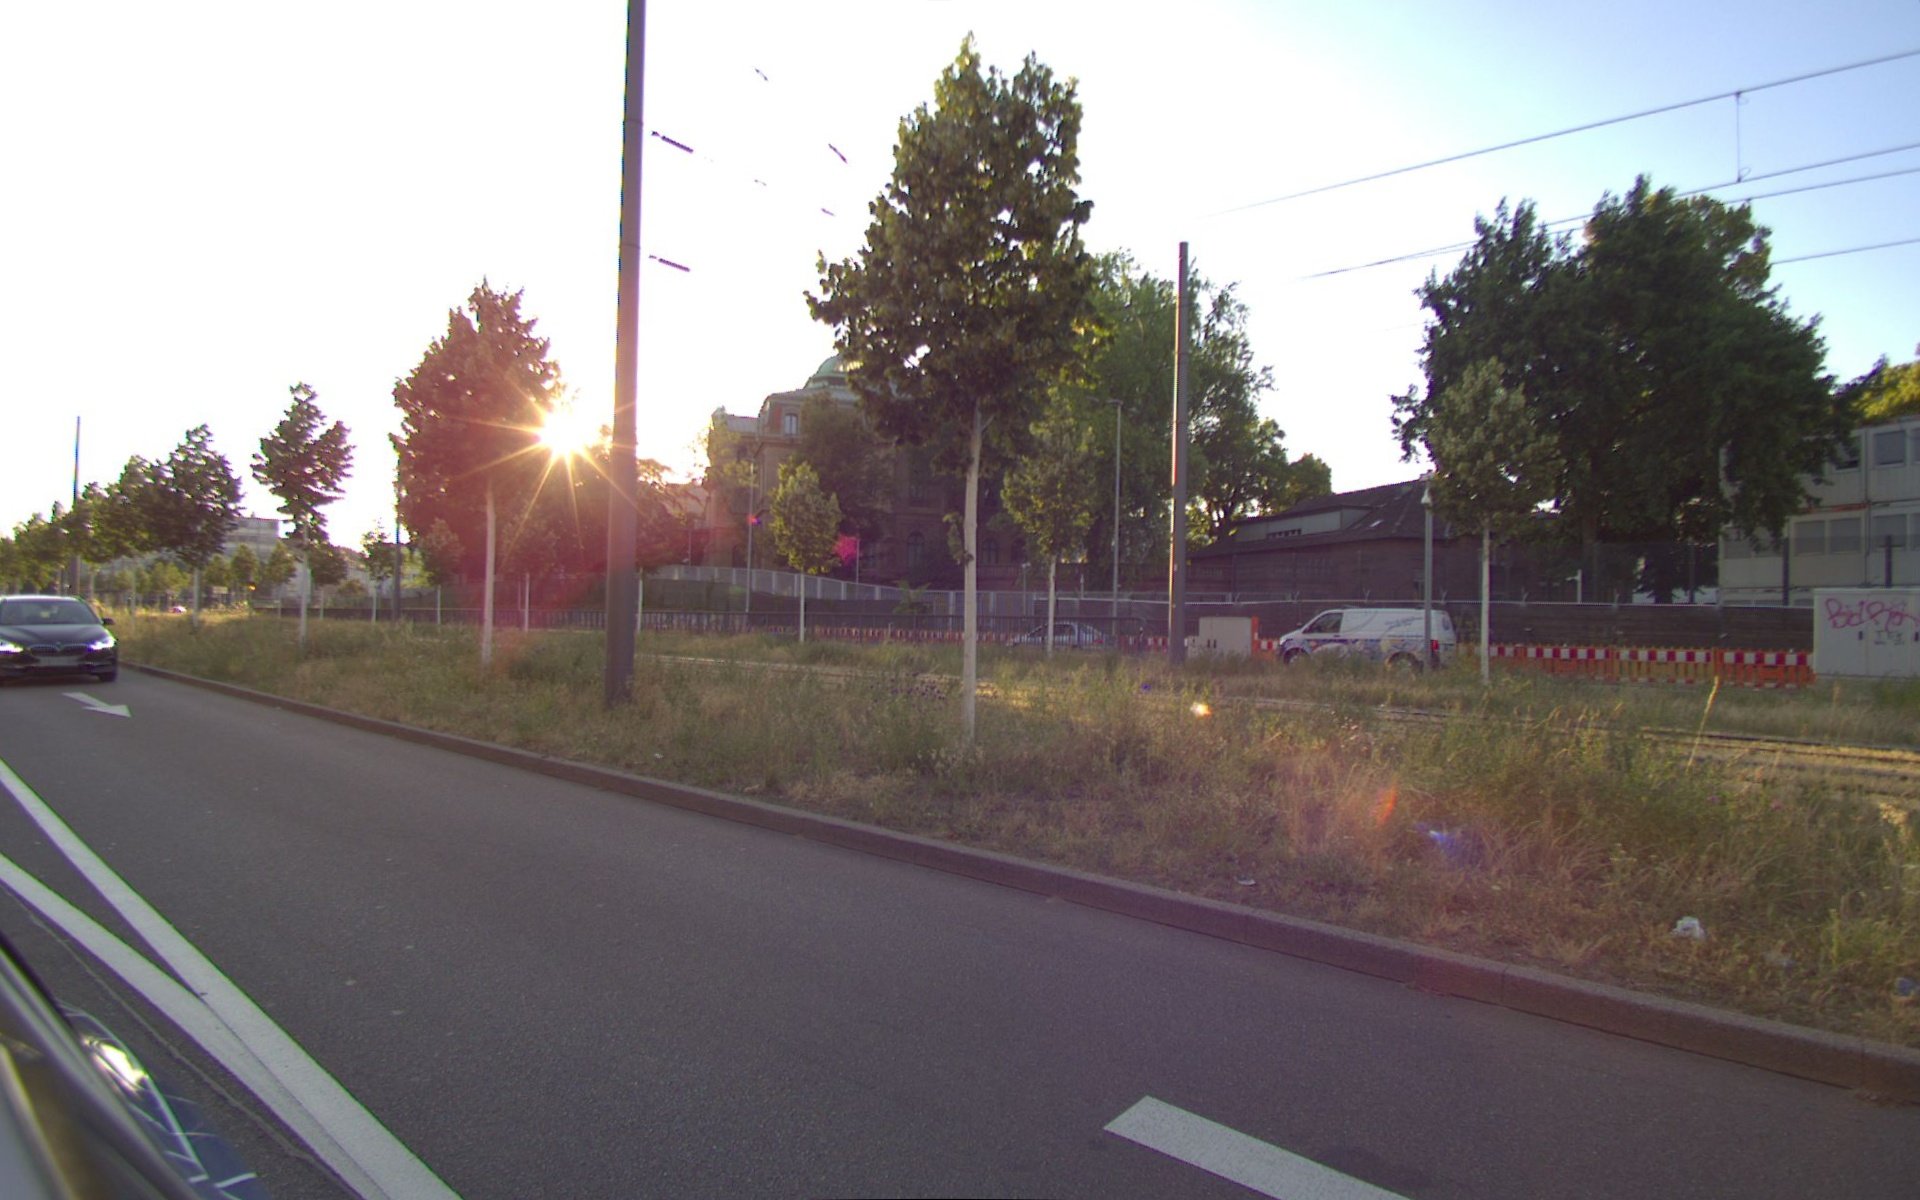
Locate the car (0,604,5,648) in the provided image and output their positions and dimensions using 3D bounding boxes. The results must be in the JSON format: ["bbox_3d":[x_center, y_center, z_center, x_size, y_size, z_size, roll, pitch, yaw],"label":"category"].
[{"bbox_3d":[-33.541,0.912,34.020,4.843,1.444,1.834,-2,-1,43],"label":"car"}]

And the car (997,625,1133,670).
[{"bbox_3d":[3.681,1.651,35.939,4.522,1.492,1.972,-2,-1,43],"label":"car"}]

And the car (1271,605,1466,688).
[{"bbox_3d":[11.581,1.275,28.883,4.750,2.184,1.972,-2,-1,43],"label":"car"}]

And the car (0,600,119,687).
[{"bbox_3d":[-17.258,0.781,18.842,4.842,1.444,1.834,-2,-1,43],"label":"car"}]
